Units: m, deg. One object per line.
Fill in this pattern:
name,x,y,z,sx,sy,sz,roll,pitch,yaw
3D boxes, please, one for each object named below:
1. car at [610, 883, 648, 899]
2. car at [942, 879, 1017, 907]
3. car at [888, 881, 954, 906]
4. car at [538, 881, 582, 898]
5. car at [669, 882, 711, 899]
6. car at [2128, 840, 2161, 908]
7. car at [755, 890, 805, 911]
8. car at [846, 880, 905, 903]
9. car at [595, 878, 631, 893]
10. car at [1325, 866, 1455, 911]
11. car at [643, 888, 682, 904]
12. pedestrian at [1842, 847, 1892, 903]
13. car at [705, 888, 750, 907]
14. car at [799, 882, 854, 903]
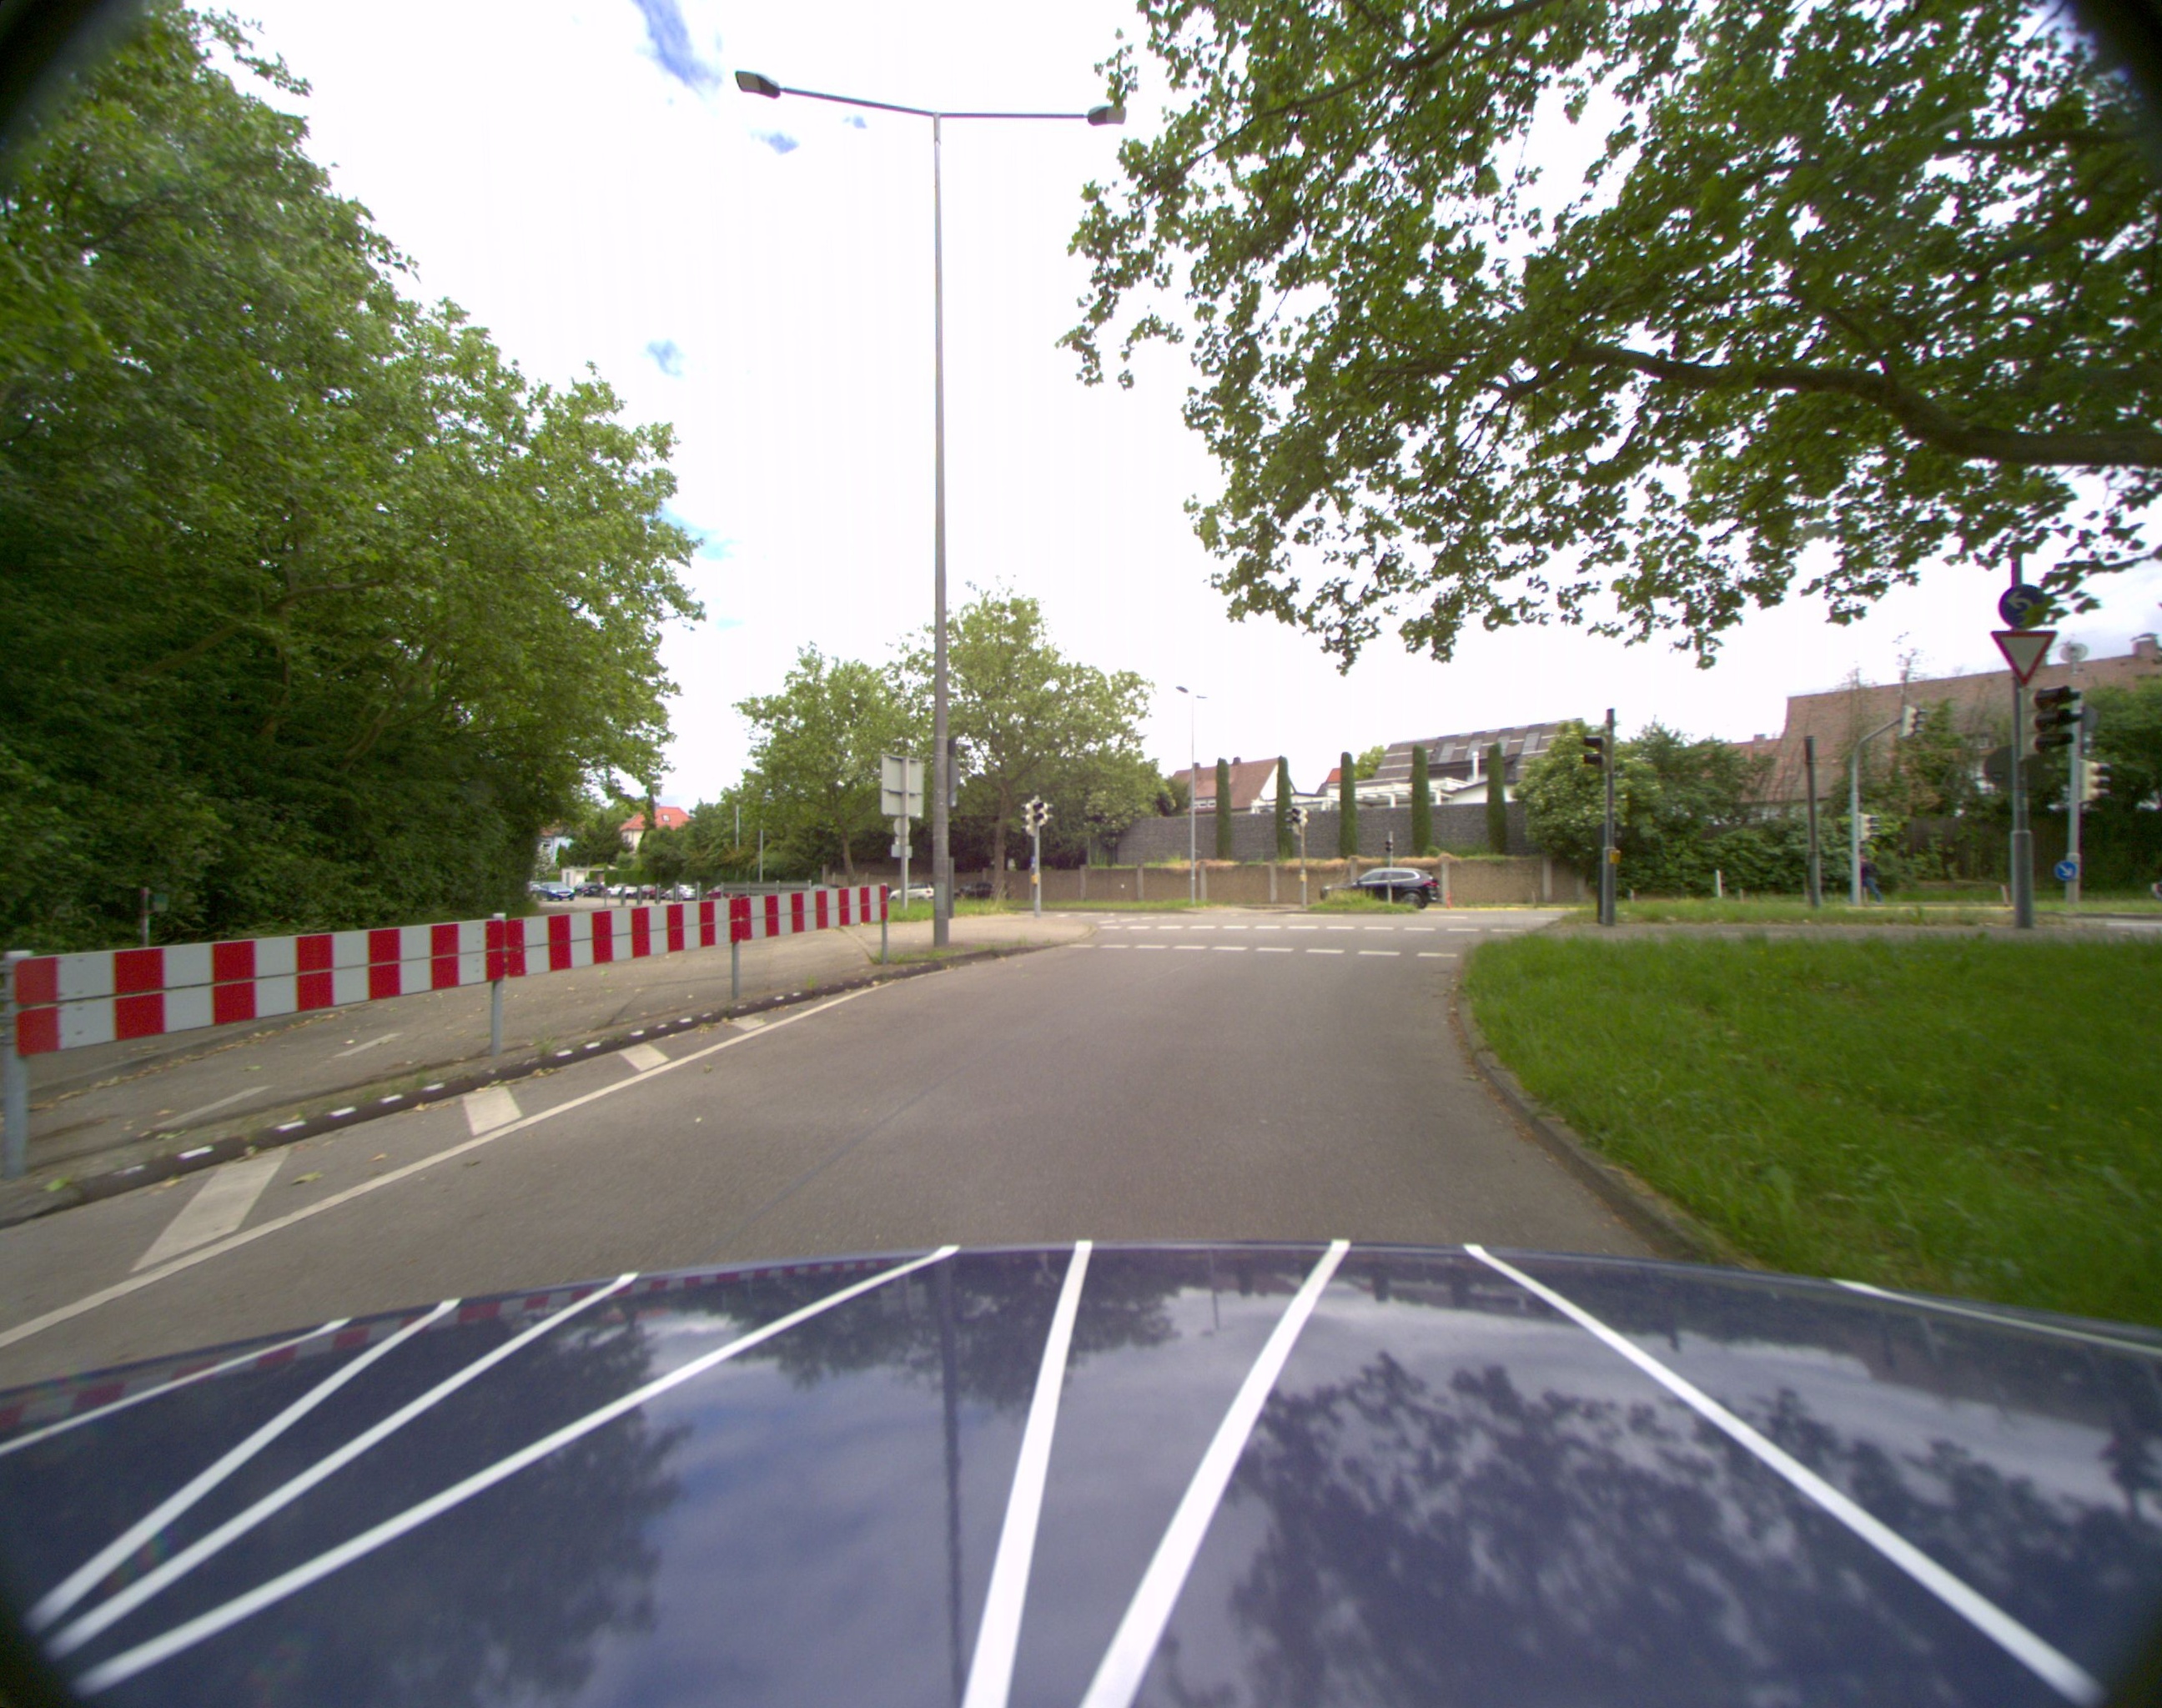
car,-44.218,3.599,74.300,3.821,1.495,1.691,-2,-4,35
car,-6.325,2.431,47.091,4.450,1.605,1.802,-2,-4,33
car,-10.646,2.611,50.402,4.206,1.605,1.802,-2,-4,34
car,-44.768,3.051,65.212,4.136,1.419,1.802,-2,-4,36
car,-34.843,3.243,67.660,3.821,1.495,1.691,-2,-4,35
car,27.830,0.415,17.542,4.255,1.621,1.848,-1,-3,6
car,-23.507,3.585,59.343,4.027,1.593,1.801,-2,-3,36
car,-14.416,2.626,53.203,4.027,1.495,1.802,-2,-4,35
car,-46.958,3.180,76.207,3.821,1.495,1.691,-2,-4,35
car,12.004,1.371,29.575,4.454,1.621,1.850,-2,-4,29
car,-39.200,3.933,71.127,3.821,1.495,1.691,-2,-4,35
pedestrian,28.642,0.777,27.712,0.853,2.001,0.954,-1,-1,16
car,-29.591,3.651,63.648,3.821,1.495,1.691,-2,-4,35
car,-18.812,2.842,56.080,4.027,1.495,1.802,-2,-4,35
